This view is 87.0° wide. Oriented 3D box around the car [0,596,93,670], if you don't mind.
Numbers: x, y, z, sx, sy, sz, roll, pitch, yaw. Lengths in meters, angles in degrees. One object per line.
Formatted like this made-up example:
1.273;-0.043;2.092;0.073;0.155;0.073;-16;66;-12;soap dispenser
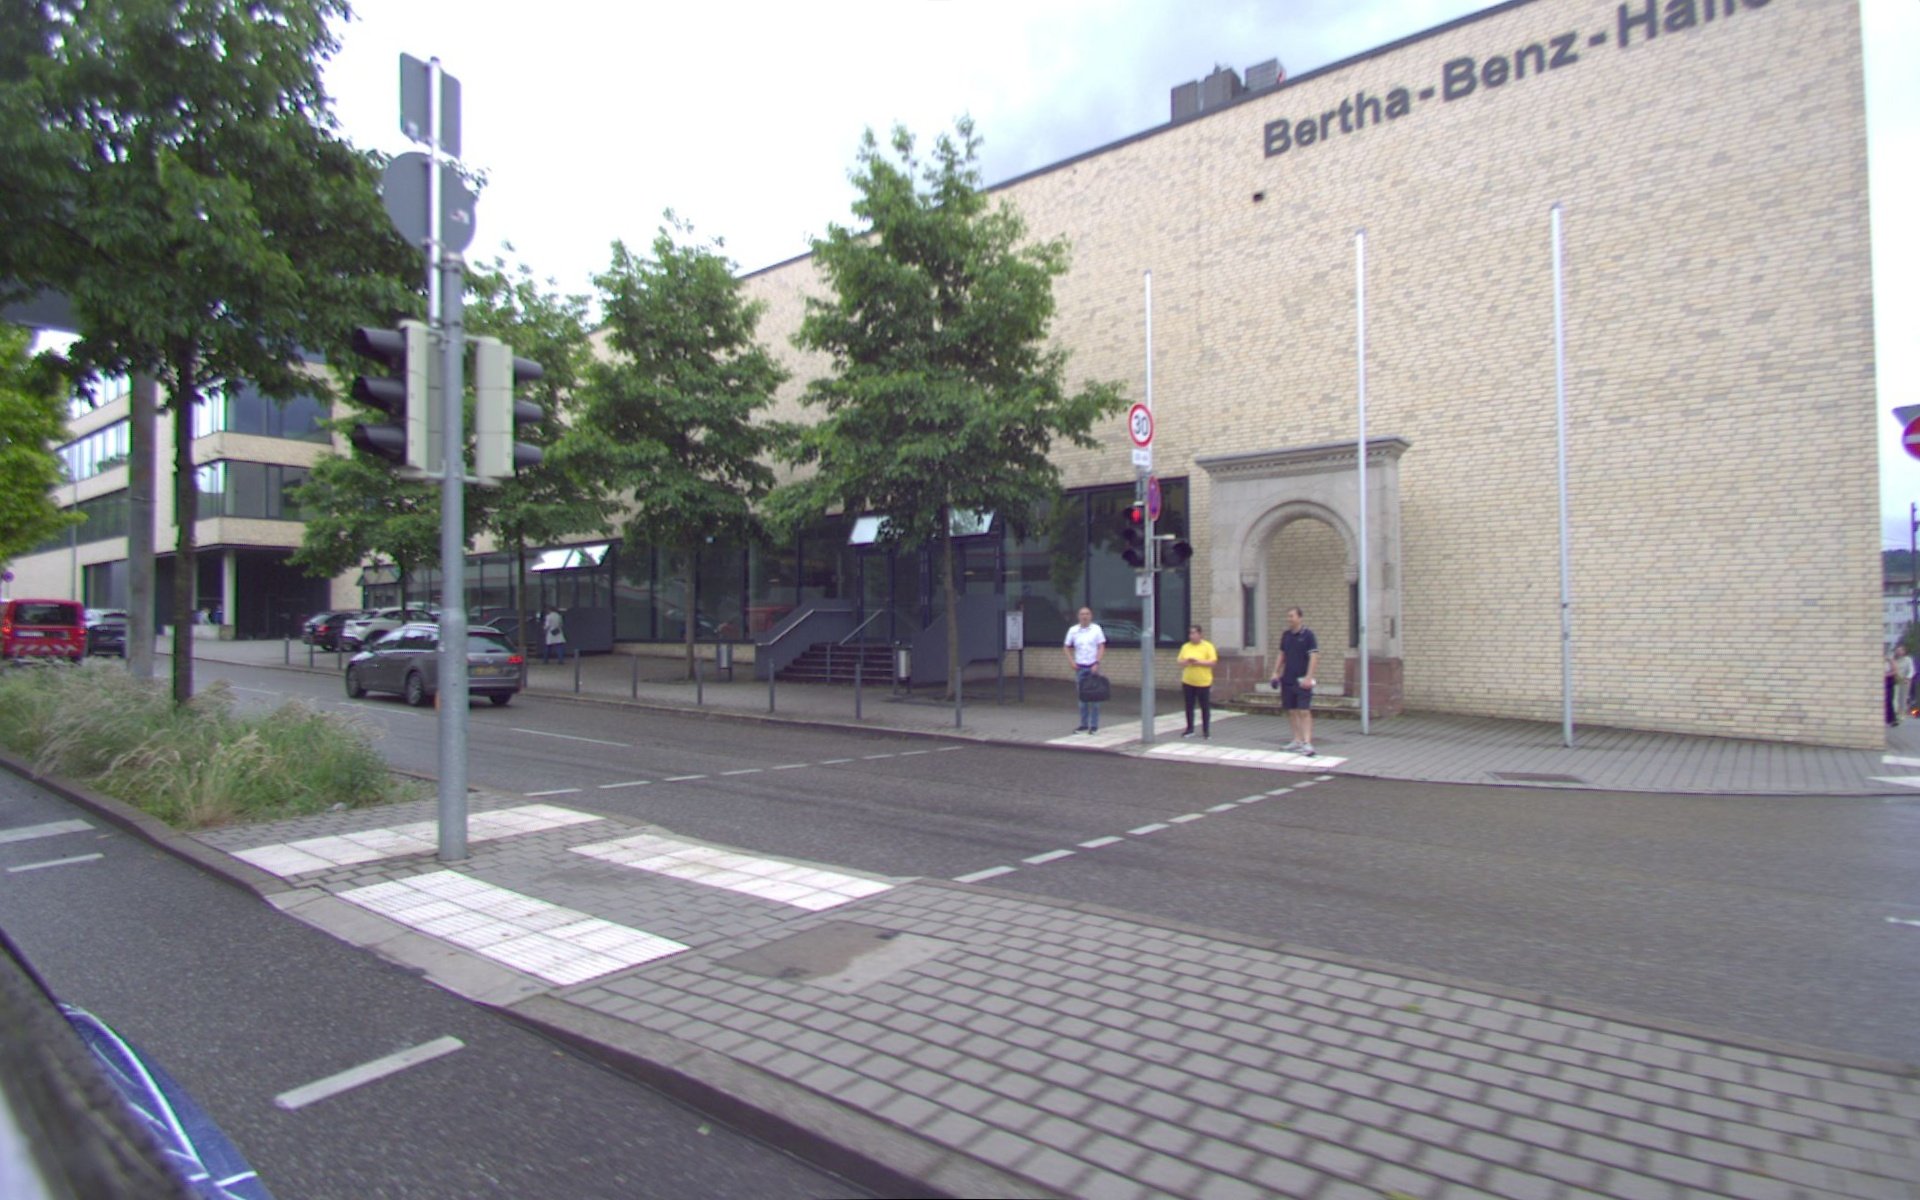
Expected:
-25.714;0.928;27.857;4.293;1.866;1.833;-1;-5;37;car

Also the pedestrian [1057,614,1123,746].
1.785;1.073;13.899;0.690;1.744;0.589;-1;0;34;pedestrian

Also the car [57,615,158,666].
-29.358;1.401;34.816;4.293;1.620;1.655;-1;-5;37;car

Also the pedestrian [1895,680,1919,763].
21.143;2.658;22.179;0.806;1.713;1.100;-1;0;36;pedestrian

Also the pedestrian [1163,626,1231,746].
3.165;1.126;13.526;0.691;1.528;0.588;-1;0;38;pedestrian

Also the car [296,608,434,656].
-21.780;1.132;37.136;2.000;1.597;3.944;-1;0;43;car

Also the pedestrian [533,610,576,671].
-11.368;1.106;28.342;0.793;1.660;0.976;-1;0;-45;pedestrian

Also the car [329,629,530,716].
-10.068;1.311;19.105;4.293;1.481;1.655;-1;-4;37;car

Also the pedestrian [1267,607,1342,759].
4.201;0.979;12.327;0.691;1.785;0.588;-1;0;38;pedestrian

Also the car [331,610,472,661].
-19.677;1.208;35.781;2.000;1.597;3.944;-1;0;43;car
